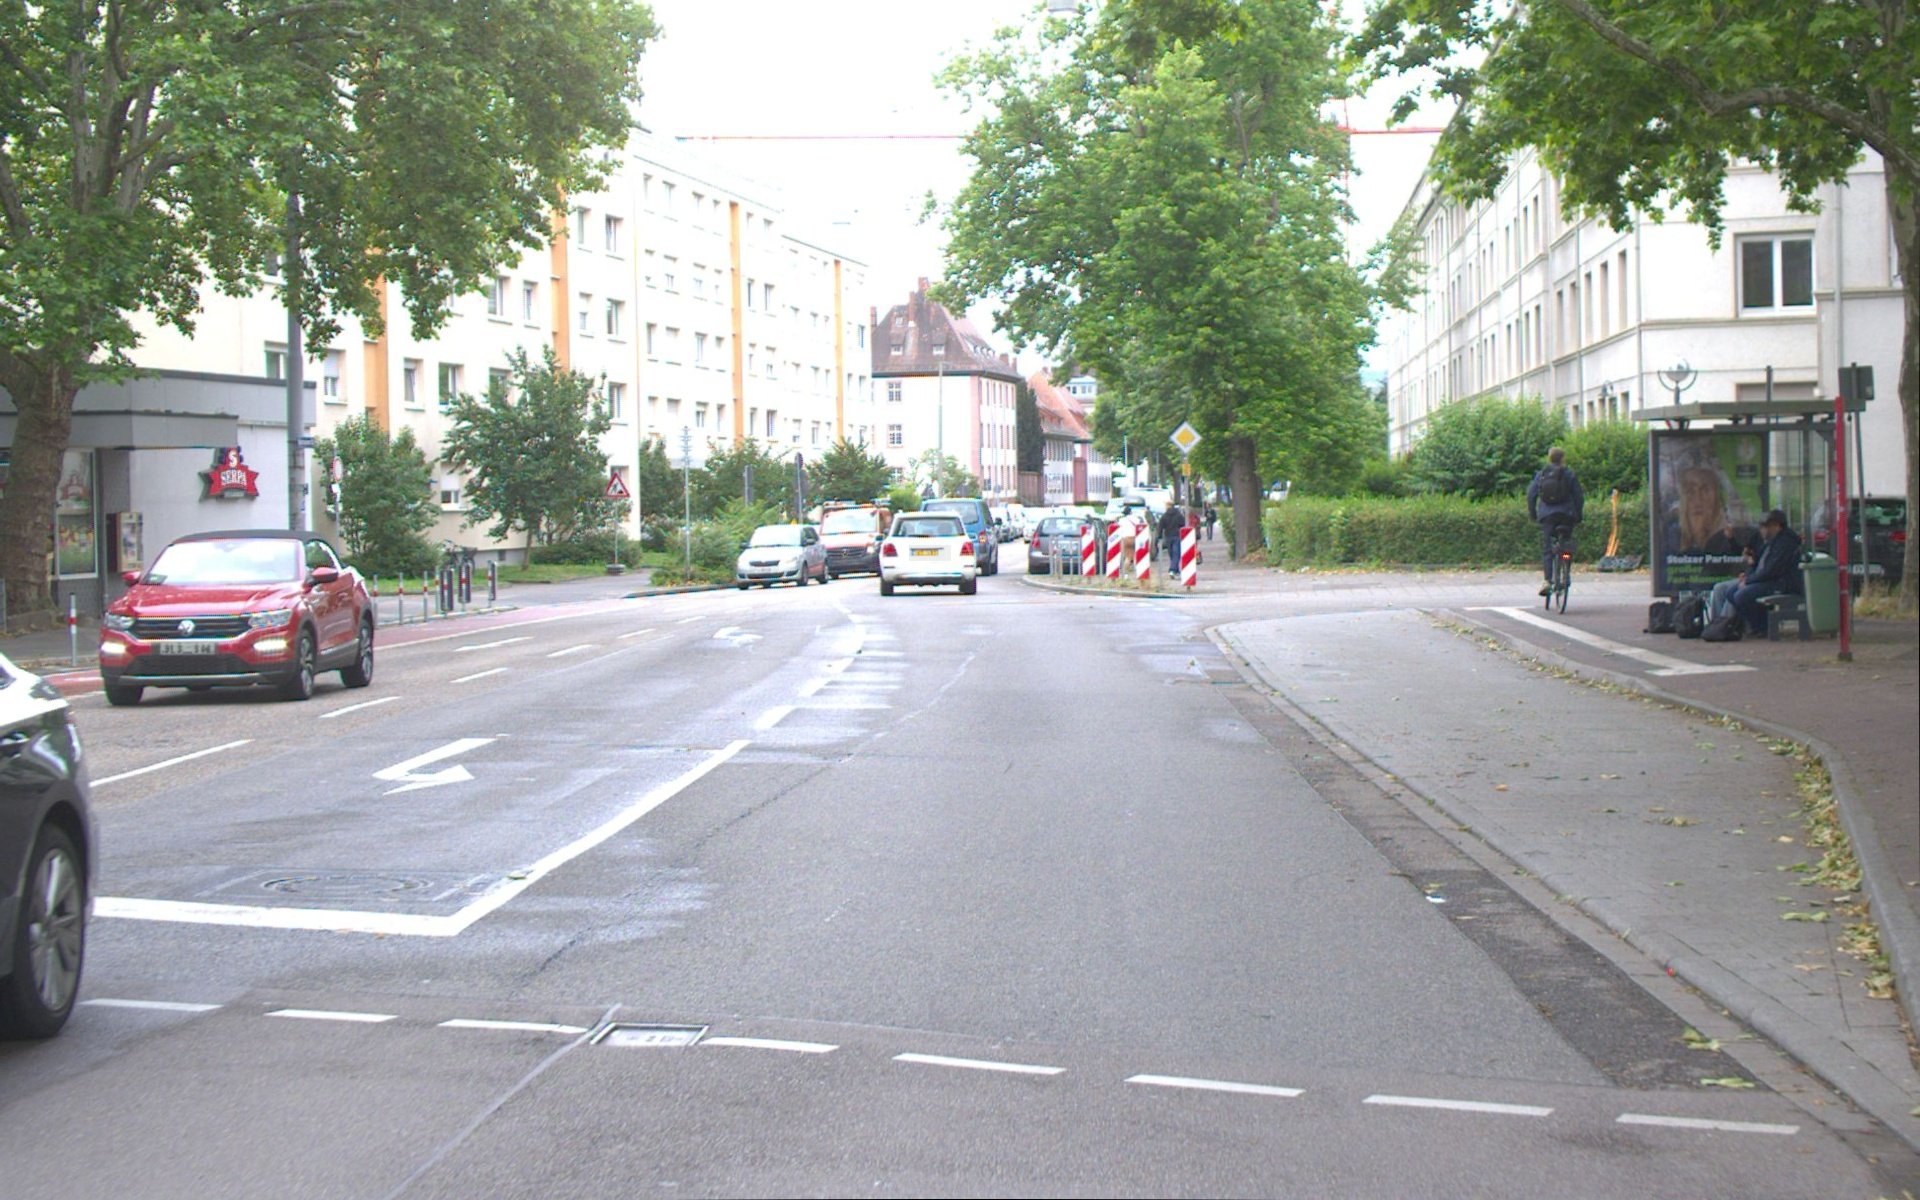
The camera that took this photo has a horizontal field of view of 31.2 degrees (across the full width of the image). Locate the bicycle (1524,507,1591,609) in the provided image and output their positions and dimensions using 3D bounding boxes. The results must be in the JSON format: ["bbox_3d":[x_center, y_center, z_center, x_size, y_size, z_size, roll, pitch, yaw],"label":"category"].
[{"bbox_3d":[7.487,-0.546,43.145,0.417,1.238,1.927,-1,2,-2],"label":"bicycle"}]

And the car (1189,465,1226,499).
[{"bbox_3d":[15.385,-7.309,213.438,1.993,2.007,4.000,-1,1,0],"label":"car"}]

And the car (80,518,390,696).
[{"bbox_3d":[-6.589,0.009,31.692,1.853,1.448,4.167,-1,2,2],"label":"car"}]

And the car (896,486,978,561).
[{"bbox_3d":[-0.577,-1.960,87.505,1.993,1.842,4.000,-1,2,0],"label":"car"}]

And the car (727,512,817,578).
[{"bbox_3d":[-4.502,-1.347,82.798,1.767,1.481,4.000,-1,2,2],"label":"car"}]

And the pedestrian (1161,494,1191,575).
[{"bbox_3d":[4.531,-1.378,72.183,0.550,1.679,0.570,-1,1,0],"label":"pedestrian"}]

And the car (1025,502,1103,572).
[{"bbox_3d":[2.513,-1.557,83.683,1.815,1.586,4.000,-1,2,1],"label":"car"}]

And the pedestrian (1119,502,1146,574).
[{"bbox_3d":[3.641,-1.307,72.391,0.515,1.490,0.511,-1,1,0],"label":"pedestrian"}]

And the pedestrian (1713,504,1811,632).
[{"bbox_3d":[8.386,-0.343,35.971,0.853,1.310,0.762,-1,2,2],"label":"pedestrian"}]

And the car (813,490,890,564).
[{"bbox_3d":[-2.905,-1.977,92.522,1.767,1.905,4.000,-1,2,2],"label":"car"}]

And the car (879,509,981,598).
[{"bbox_3d":[-0.559,-0.931,66.731,1.815,1.586,4.000,-1,2,1],"label":"car"}]

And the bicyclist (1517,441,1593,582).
[{"bbox_3d":[7.509,-1.119,43.400,0.760,1.752,0.820,-1,2,-2],"label":"bicyclist"}]

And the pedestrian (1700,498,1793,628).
[{"bbox_3d":[8.434,-0.404,36.885,0.818,1.367,0.762,-1,2,2],"label":"pedestrian"}]

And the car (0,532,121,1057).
[{"bbox_3d":[-3.562,0.588,8.529,1.809,1.422,4.317,-1,2,1],"label":"car"}]
